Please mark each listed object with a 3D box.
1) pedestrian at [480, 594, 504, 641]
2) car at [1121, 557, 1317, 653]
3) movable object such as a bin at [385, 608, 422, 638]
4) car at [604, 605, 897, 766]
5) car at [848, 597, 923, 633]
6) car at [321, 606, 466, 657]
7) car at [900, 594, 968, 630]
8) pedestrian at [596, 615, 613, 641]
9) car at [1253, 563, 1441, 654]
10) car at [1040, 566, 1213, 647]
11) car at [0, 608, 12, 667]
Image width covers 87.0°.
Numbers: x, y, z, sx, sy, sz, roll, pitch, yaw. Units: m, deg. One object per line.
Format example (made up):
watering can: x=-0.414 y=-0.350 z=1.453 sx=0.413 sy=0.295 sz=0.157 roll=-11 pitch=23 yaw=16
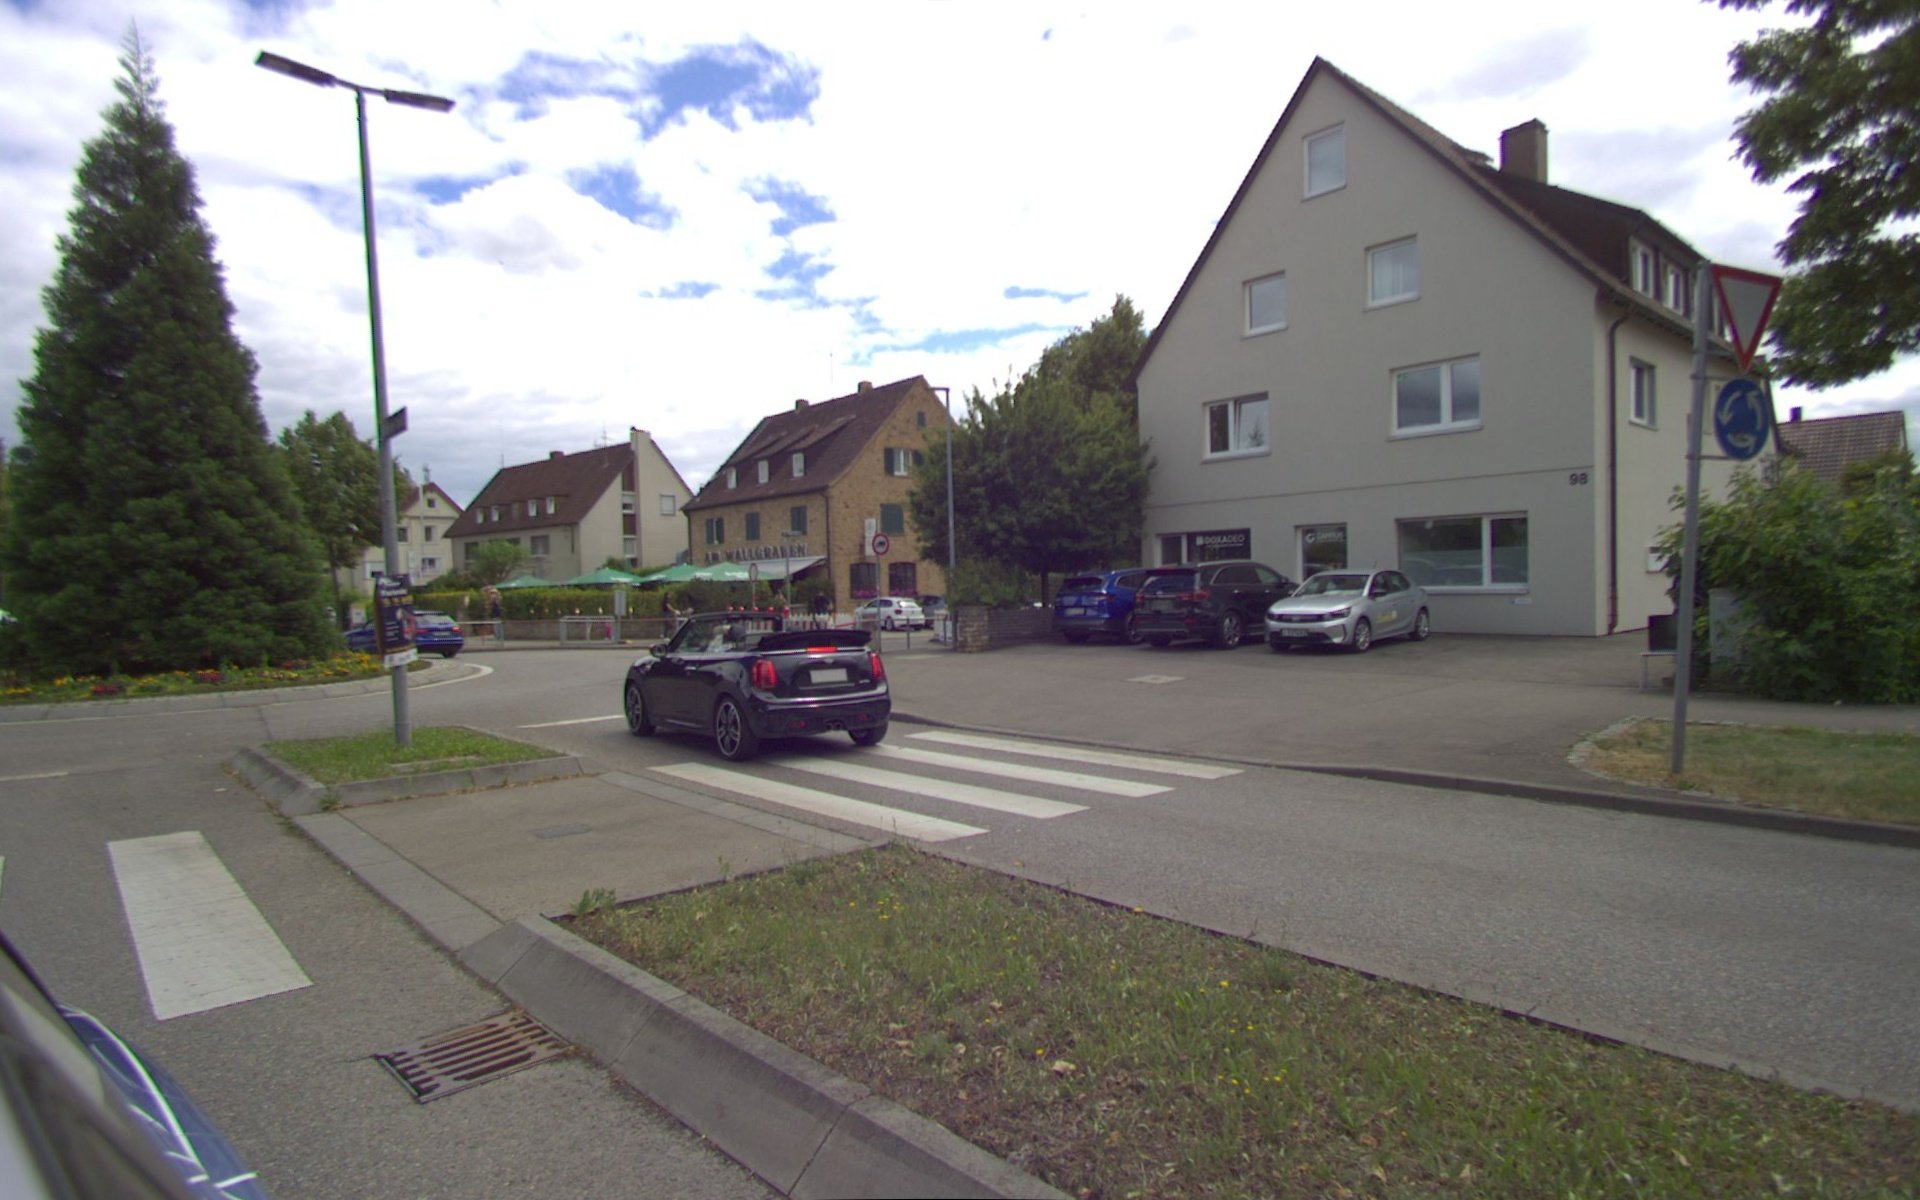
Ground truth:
pedestrian: x=-18.677 y=0.701 z=40.395 sx=0.566 sy=1.840 sz=0.629 roll=-2 pitch=1 yaw=41
car: x=5.239 y=0.029 z=20.275 sx=3.869 sy=1.674 sz=1.859 roll=-3 pitch=3 yaw=-39
movable object such as a bin: x=-28.109 y=1.156 z=51.095 sx=0.970 sy=1.427 sz=2.725 roll=-2 pitch=0 yaw=-43
car: x=-2.398 y=0.784 z=10.887 sx=1.553 sy=1.372 sz=3.750 roll=-2 pitch=0 yaw=-38
car: x=-3.352 y=0.640 z=45.062 sx=1.445 sy=1.430 sz=3.680 roll=-2 pitch=2 yaw=-40
car: x=-16.838 y=0.890 z=30.045 sx=4.485 sy=1.382 sz=1.599 roll=0 pitch=0 yaw=28
car: x=-1.212 y=0.538 z=46.258 sx=1.376 sy=1.512 sz=3.235 roll=-2 pitch=2 yaw=-40
pedestrian: x=-12.871 y=1.013 z=36.616 sx=0.423 sy=0.919 sz=0.340 roll=-3 pitch=2 yaw=9
car: x=7.238 y=0.108 z=18.755 sx=3.873 sy=1.413 sz=1.748 roll=-4 pitch=2 yaw=-44
car: x=3.767 y=0.084 z=22.506 sx=3.873 sy=1.547 sz=1.821 roll=-4 pitch=3 yaw=-44
car: x=-30.102 y=1.154 z=30.496 sx=1.897 sy=1.767 sz=4.007 roll=-2 pitch=1 yaw=-39
